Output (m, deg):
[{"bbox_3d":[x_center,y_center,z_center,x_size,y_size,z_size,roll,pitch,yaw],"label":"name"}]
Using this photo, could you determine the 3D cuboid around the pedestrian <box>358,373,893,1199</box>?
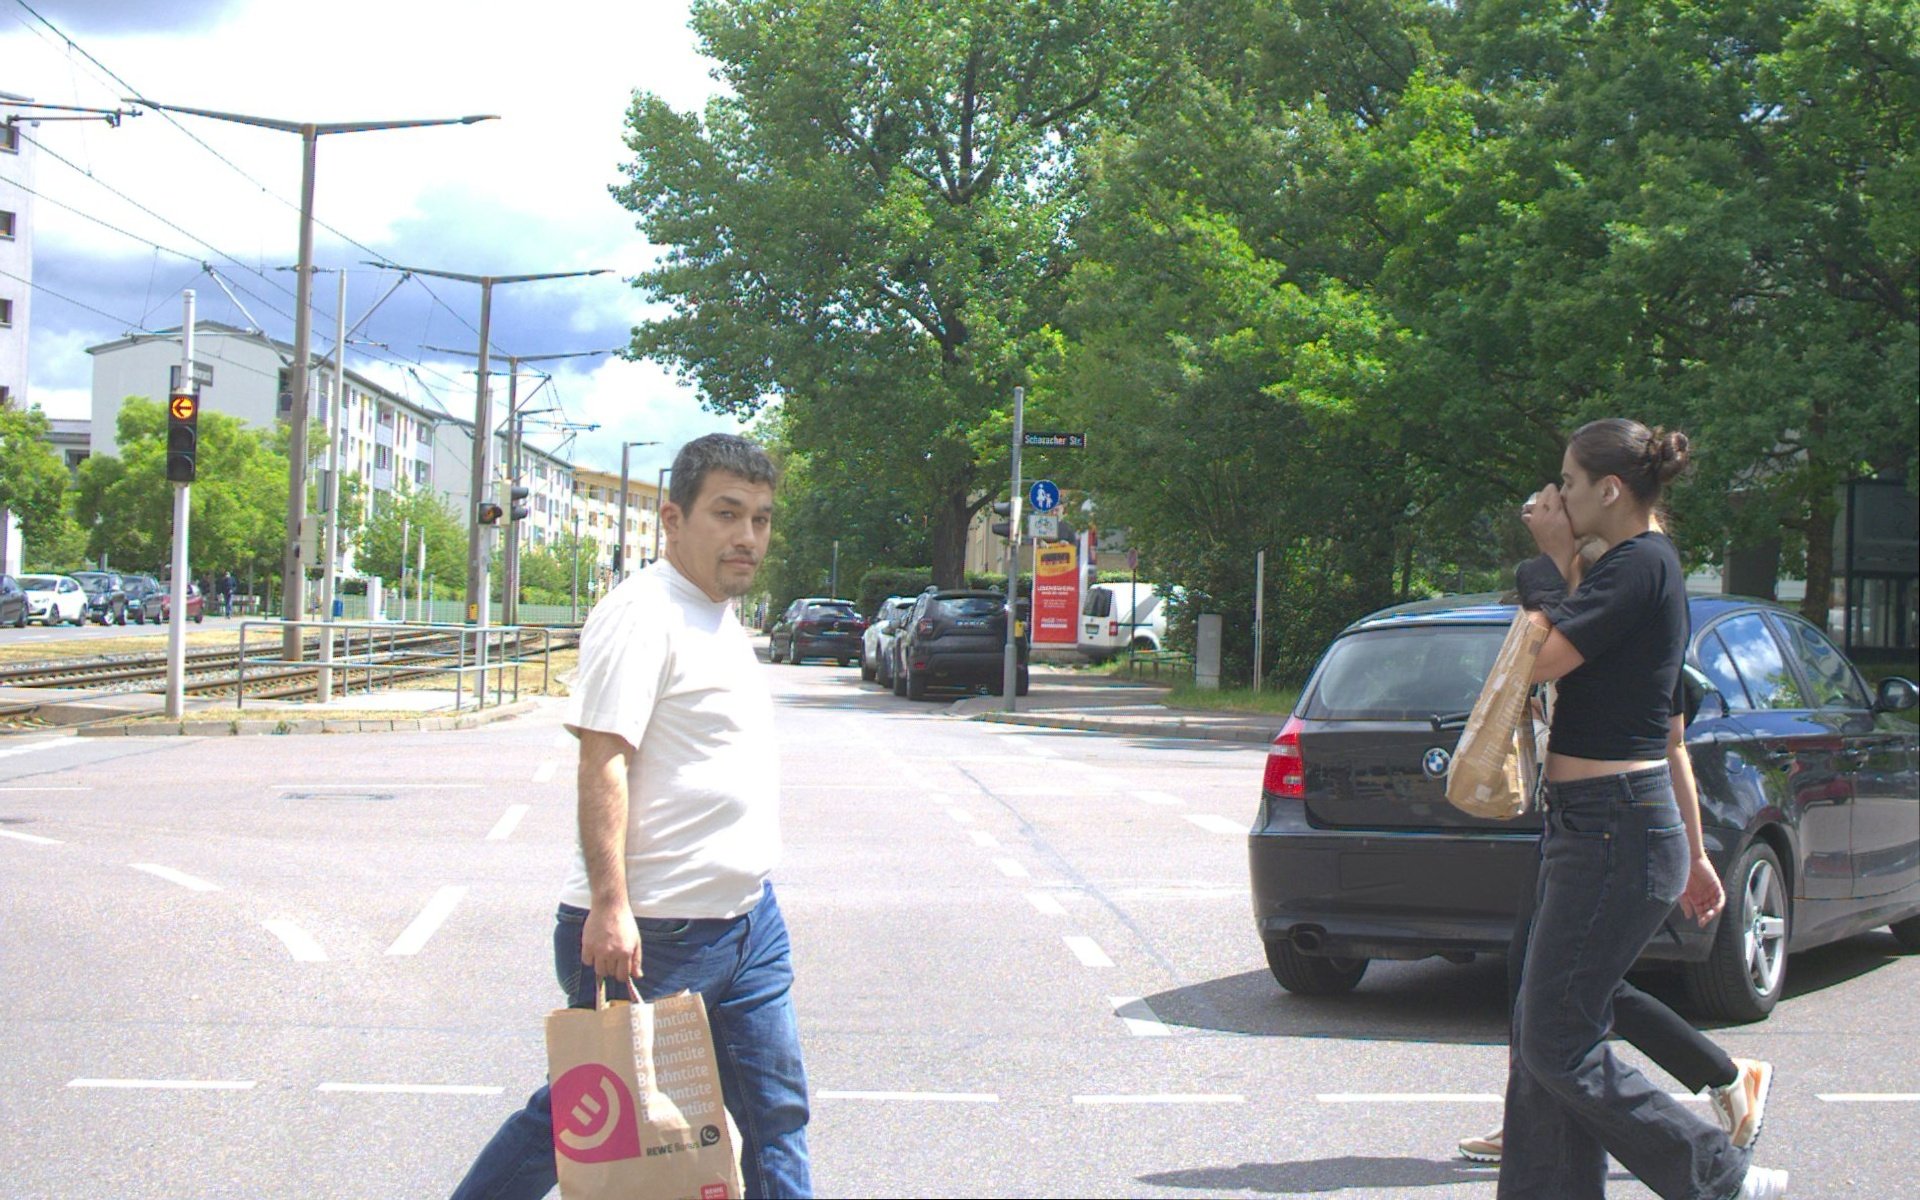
[{"bbox_3d":[-0.592,0.524,6.143,0.868,1.802,0.742,1,1,-4],"label":"pedestrian"}]

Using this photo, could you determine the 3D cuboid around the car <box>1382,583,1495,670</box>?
[{"bbox_3d":[10.407,0.551,74.999,1.630,1.804,4.033,1,1,-4],"label":"car"}]

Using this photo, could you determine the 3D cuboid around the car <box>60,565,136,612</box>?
[{"bbox_3d":[-26.352,-0.361,105.215,1.760,1.390,4.001,1,1,-7],"label":"car"}]

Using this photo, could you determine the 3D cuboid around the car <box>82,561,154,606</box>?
[{"bbox_3d":[-26.943,-0.545,110.066,1.760,1.390,4.001,1,1,-7],"label":"car"}]

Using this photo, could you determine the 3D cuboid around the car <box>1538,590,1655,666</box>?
[{"bbox_3d":[14.198,0.603,76.889,1.630,1.589,4.001,1,1,-4],"label":"car"}]

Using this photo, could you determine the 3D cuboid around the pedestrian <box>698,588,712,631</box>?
[{"bbox_3d":[-9.774,0.371,131.843,0.478,1.631,0.454,1,1,-1],"label":"pedestrian"}]

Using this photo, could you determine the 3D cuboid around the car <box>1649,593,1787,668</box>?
[{"bbox_3d":[17.047,0.664,77.452,1.730,1.589,4.001,1,1,-8],"label":"car"}]

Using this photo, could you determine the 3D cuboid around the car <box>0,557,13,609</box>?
[{"bbox_3d":[-26.387,-0.465,91.435,1.760,1.390,4.001,1,1,-7],"label":"car"}]

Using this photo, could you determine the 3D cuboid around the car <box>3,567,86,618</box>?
[{"bbox_3d":[-26.310,-0.225,98.912,1.760,1.390,4.001,1,1,-7],"label":"car"}]

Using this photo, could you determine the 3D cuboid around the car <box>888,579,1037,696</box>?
[{"bbox_3d":[0.013,0.554,52.230,2.152,1.678,4.000,1,0,-1],"label":"car"}]

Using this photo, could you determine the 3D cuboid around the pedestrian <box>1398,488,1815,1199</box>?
[{"bbox_3d":[1.610,0.570,8.464,0.953,1.668,0.870,0,0,15],"label":"pedestrian"}]

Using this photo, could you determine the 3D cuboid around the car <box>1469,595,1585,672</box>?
[{"bbox_3d":[12.459,0.717,75.692,1.630,1.567,4.033,1,1,-4],"label":"car"}]

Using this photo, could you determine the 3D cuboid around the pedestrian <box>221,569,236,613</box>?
[{"bbox_3d":[-27.425,-0.323,128.902,0.452,1.631,0.480,1,1,-3],"label":"pedestrian"}]

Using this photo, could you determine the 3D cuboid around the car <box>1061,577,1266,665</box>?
[{"bbox_3d":[4.358,0.452,73.754,3.986,1.817,1.779,1,1,-23],"label":"car"}]

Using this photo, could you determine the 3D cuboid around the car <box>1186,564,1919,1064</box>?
[{"bbox_3d":[2.494,0.636,12.575,1.755,1.482,3.993,2,1,29],"label":"car"}]

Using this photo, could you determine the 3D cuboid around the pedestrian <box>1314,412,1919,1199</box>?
[{"bbox_3d":[1.290,0.530,6.889,0.933,1.759,0.772,1,1,-12],"label":"pedestrian"}]

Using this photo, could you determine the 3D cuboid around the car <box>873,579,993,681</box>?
[{"bbox_3d":[-0.477,0.519,59.677,1.993,1.678,4.000,1,0,-1],"label":"car"}]

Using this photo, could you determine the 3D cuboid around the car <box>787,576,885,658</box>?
[{"bbox_3d":[-2.681,0.346,75.050,1.993,1.678,4.000,1,1,-1],"label":"car"}]
